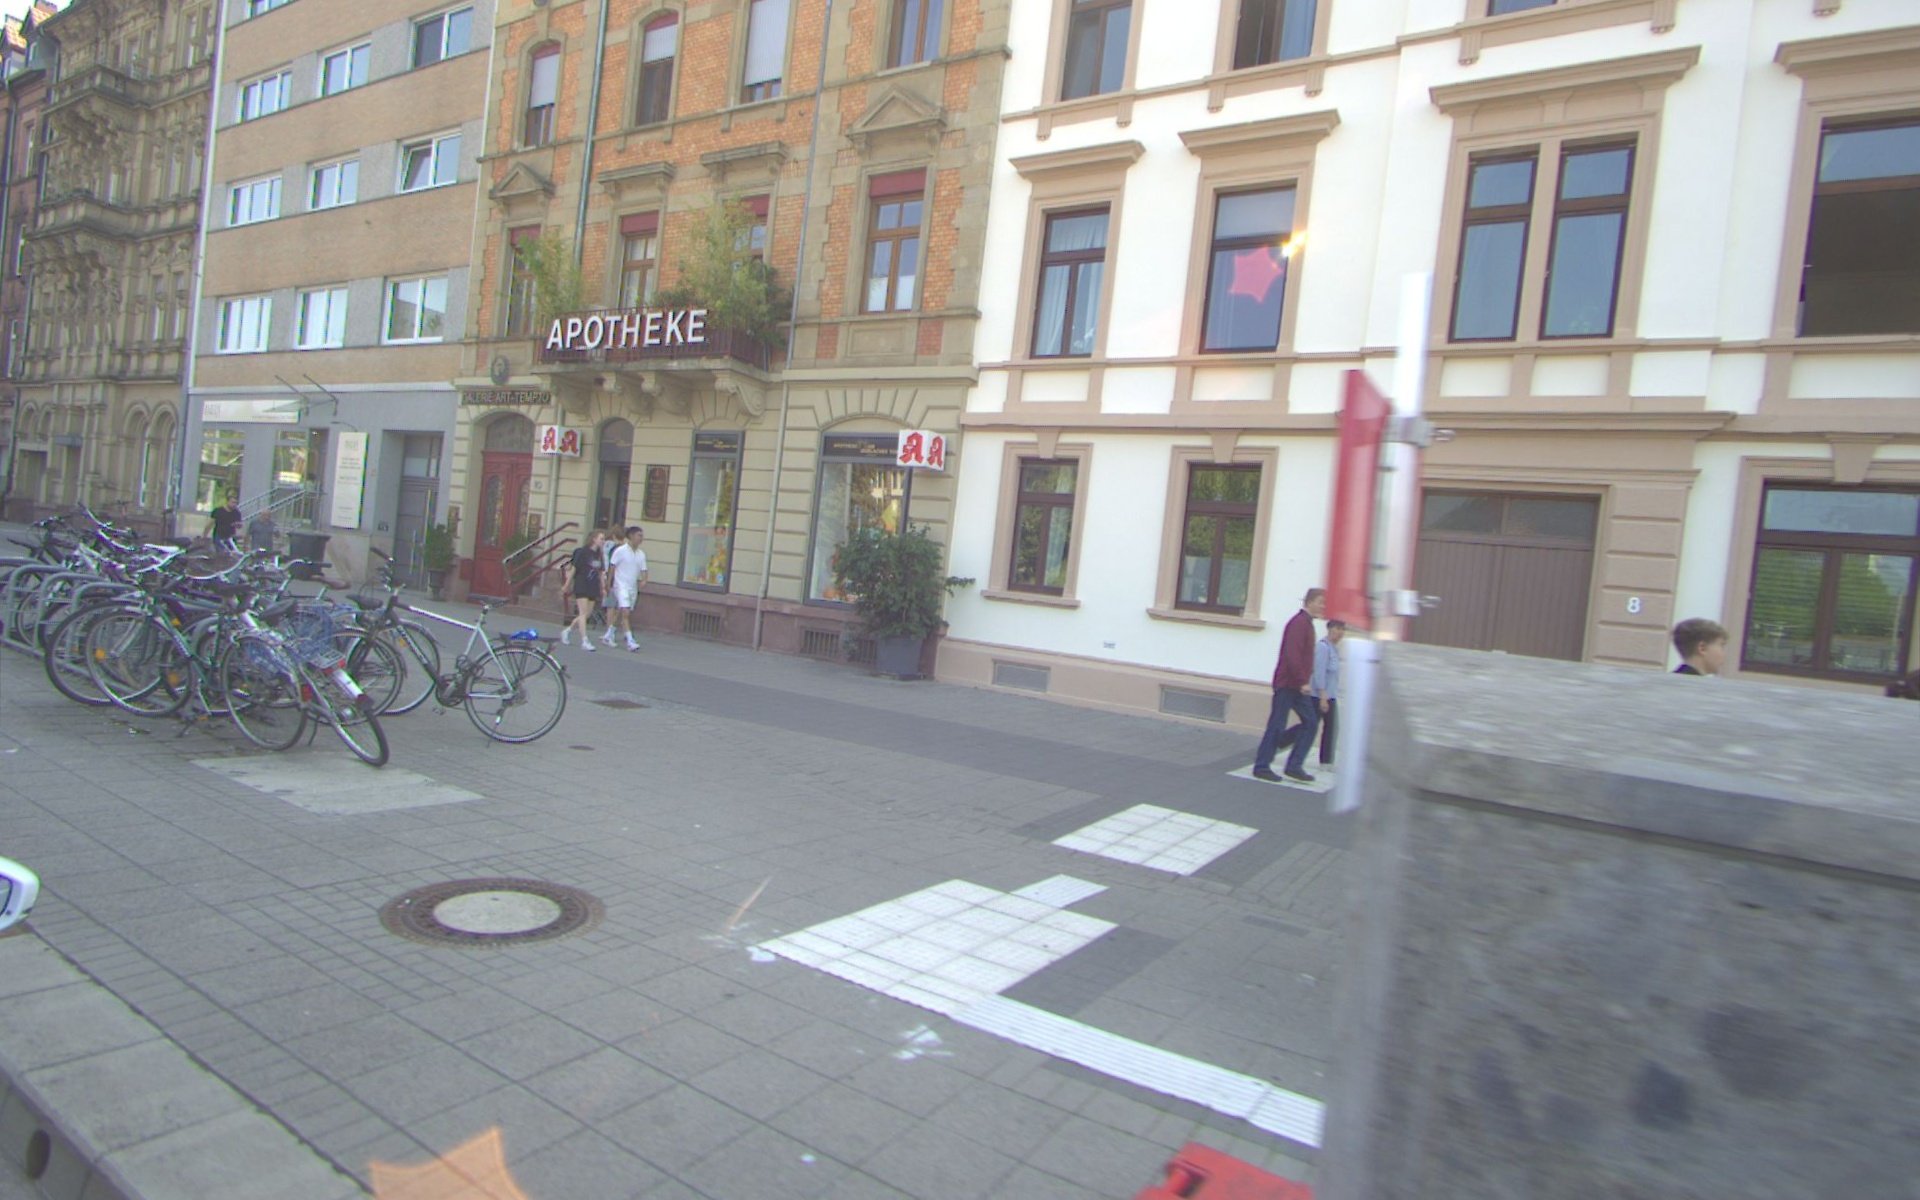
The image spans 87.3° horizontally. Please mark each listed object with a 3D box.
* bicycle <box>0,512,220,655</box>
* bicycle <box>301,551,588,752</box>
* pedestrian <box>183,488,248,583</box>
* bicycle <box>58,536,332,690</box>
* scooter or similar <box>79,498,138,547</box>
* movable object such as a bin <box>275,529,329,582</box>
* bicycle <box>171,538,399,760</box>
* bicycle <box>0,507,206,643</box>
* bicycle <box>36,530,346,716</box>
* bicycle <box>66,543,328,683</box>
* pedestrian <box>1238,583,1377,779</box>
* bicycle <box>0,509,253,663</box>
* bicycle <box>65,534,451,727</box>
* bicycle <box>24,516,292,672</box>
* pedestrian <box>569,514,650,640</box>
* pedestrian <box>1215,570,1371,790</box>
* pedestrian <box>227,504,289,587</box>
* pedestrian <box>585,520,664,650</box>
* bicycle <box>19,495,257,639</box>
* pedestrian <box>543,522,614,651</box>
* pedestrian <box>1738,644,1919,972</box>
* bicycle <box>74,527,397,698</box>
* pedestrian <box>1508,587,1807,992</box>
[{"bbox_3d":[-7.554,-0.129,8.712,0.633,1.085,1.660,7,0,31],"label":"bicycle"},{"bbox_3d":[-3.480,0.352,6.944,1.541,1.133,0.689,8,0,-17],"label":"bicycle"},{"bbox_3d":[-14.237,-1.227,19.231,0.776,1.706,0.644,7,1,31],"label":"pedestrian"},{"bbox_3d":[-5.688,0.143,7.580,0.359,1.029,1.539,8,0,31],"label":"bicycle"},{"bbox_3d":[-23.681,-2.147,27.972,1.279,1.211,0.514,6,1,12],"label":"scooter or similar"},{"bbox_3d":[-14.646,-0.985,22.409,0.752,1.061,0.646,6,1,-12],"label":"movable object such as a bin"},{"bbox_3d":[-3.970,0.248,5.882,1.481,1.085,0.476,7,1,32],"label":"bicycle"},{"bbox_3d":[-8.119,-0.225,9.201,0.634,1.085,1.776,7,0,36],"label":"bicycle"},{"bbox_3d":[-5.074,0.192,6.746,0.359,1.085,1.539,8,0,31],"label":"bicycle"},{"bbox_3d":[-5.916,0.141,7.896,0.359,0.964,1.539,8,0,31],"label":"bicycle"},{"bbox_3d":[3.532,0.797,10.216,1.000,1.797,0.684,8,2,31],"label":"pedestrian"},{"bbox_3d":[-6.965,-0.087,8.291,0.633,1.085,1.660,8,0,31],"label":"bicycle"},{"bbox_3d":[-4.590,0.241,6.810,0.375,1.085,2.125,8,0,27],"label":"bicycle"},{"bbox_3d":[-6.403,-0.008,8.120,0.464,1.085,1.539,8,0,31],"label":"bicycle"},{"bbox_3d":[-5.475,-0.349,15.735,0.674,1.871,0.842,7,3,23],"label":"pedestrian"},{"bbox_3d":[3.034,0.700,9.166,1.000,1.797,0.684,8,2,31],"label":"pedestrian"},{"bbox_3d":[-13.791,-1.072,19.767,0.776,1.512,0.644,7,1,31],"label":"pedestrian"},{"bbox_3d":[-4.971,-0.222,14.898,0.865,1.820,0.599,7,4,32],"label":"pedestrian"},{"bbox_3d":[-8.216,-0.293,10.122,0.634,1.230,1.673,7,0,37],"label":"bicycle"},{"bbox_3d":[-5.476,-0.193,14.445,0.668,1.774,0.577,7,4,32],"label":"pedestrian"},{"bbox_3d":[5.139,1.105,5.485,0.953,1.602,0.852,6,1,-2],"label":"pedestrian"},{"bbox_3d":[-5.205,0.144,7.380,0.359,1.085,1.838,8,0,31],"label":"bicycle"},{"bbox_3d":[3.571,0.888,5.189,0.956,1.752,0.849,10,4,38],"label":"pedestrian"}]
